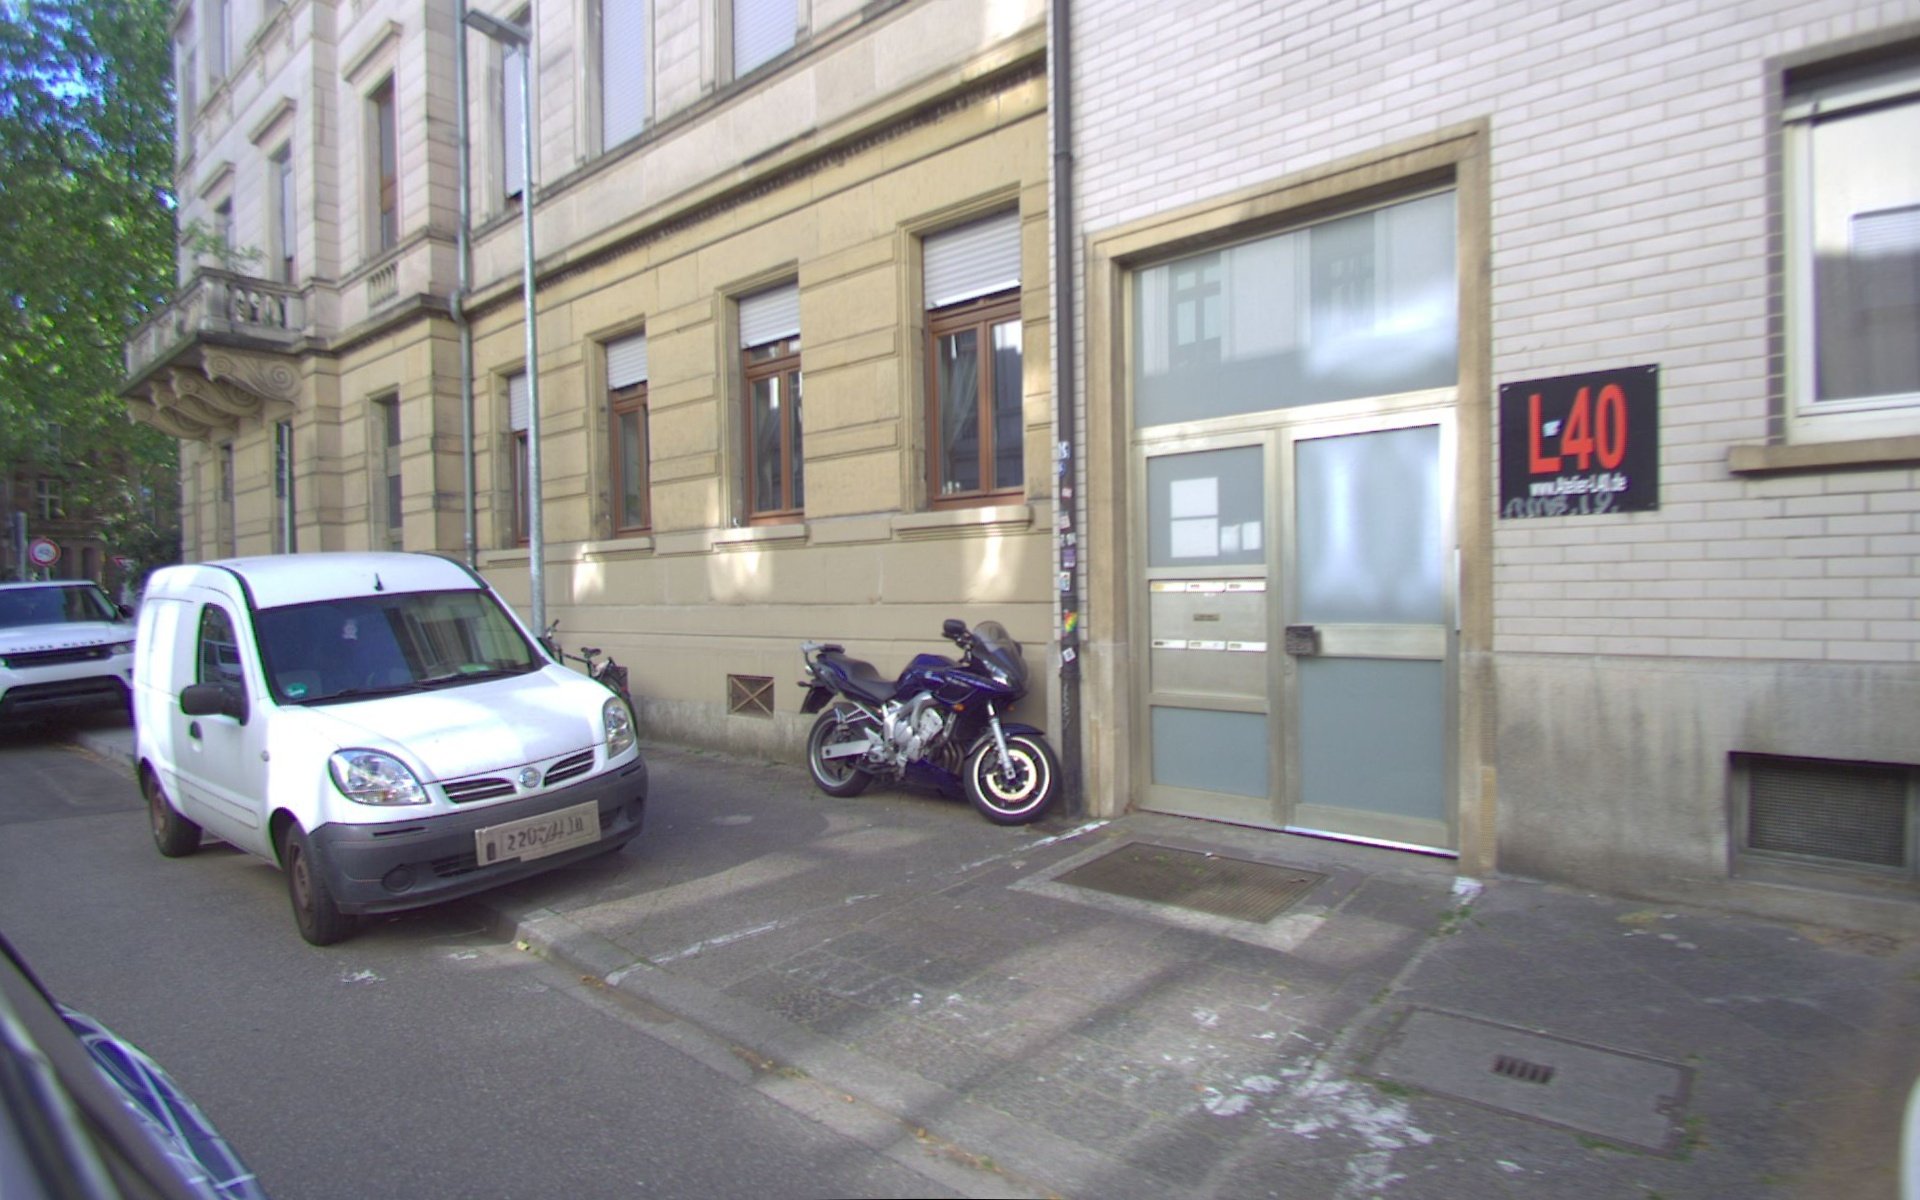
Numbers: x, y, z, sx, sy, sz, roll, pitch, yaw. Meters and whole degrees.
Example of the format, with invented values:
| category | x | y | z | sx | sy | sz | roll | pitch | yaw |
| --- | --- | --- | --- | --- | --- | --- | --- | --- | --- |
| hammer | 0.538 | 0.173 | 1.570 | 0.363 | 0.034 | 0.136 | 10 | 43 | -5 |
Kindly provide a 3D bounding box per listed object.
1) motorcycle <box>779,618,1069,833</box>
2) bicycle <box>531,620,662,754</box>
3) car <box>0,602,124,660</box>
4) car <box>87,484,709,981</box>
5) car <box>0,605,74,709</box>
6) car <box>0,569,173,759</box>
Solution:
| category | x | y | z | sx | sy | sz | roll | pitch | yaw |
| --- | --- | --- | --- | --- | --- | --- | --- | --- | --- |
| motorcycle | -0.305 | 0.721 | 6.540 | 2.120 | 1.194 | 0.428 | -1 | 0 | 40 |
| bicycle | -3.382 | 0.764 | 9.358 | 1.507 | 1.134 | 0.428 | -1 | 0 | 40 |
| car | -25.413 | 0.837 | 28.012 | 1.490 | 1.466 | 3.251 | -1 | 1 | 36 |
| car | -3.430 | 0.486 | 5.819 | 4.087 | 1.890 | 1.727 | -1 | 3 | 41 |
| car | -16.472 | 0.912 | 16.905 | 3.938 | 1.573 | 1.849 | 0 | 2 | 39 |
| car | -11.618 | 0.700 | 12.645 | 4.541 | 2.029 | 2.001 | -1 | 0 | 41 |
